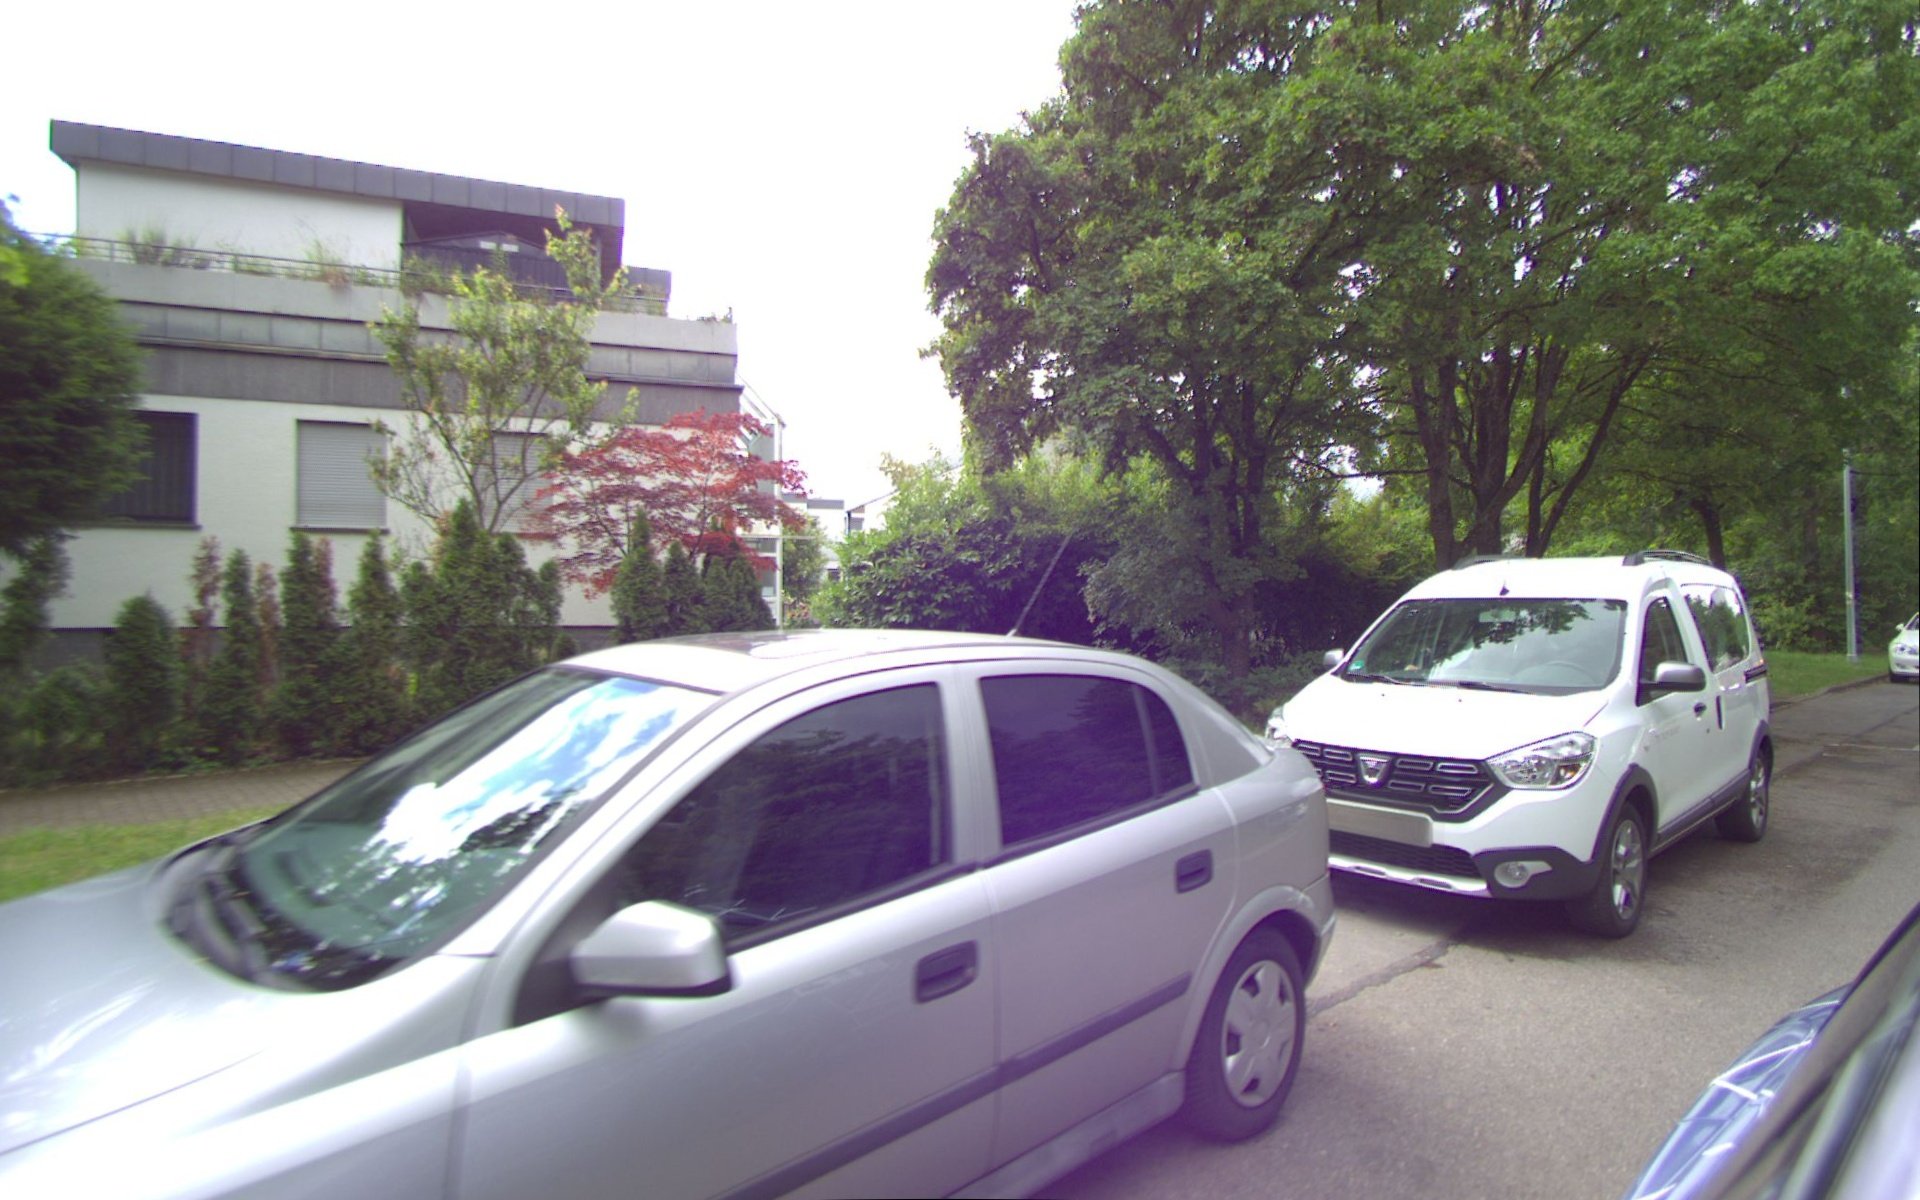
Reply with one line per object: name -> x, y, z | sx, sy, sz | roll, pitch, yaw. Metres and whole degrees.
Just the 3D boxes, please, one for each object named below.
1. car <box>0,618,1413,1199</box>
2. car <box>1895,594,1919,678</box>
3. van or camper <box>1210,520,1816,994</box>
car -> -0.689, 0.806, 2.603 | 4.169, 1.456, 1.815 | 0, -2, -42
car -> 19.818, 0.659, 19.629 | 5.085, 1.526, 1.889 | 0, 0, -41
van or camper -> 3.523, 0.568, 6.060 | 4.246, 1.861, 1.805 | -2, 0, -41
